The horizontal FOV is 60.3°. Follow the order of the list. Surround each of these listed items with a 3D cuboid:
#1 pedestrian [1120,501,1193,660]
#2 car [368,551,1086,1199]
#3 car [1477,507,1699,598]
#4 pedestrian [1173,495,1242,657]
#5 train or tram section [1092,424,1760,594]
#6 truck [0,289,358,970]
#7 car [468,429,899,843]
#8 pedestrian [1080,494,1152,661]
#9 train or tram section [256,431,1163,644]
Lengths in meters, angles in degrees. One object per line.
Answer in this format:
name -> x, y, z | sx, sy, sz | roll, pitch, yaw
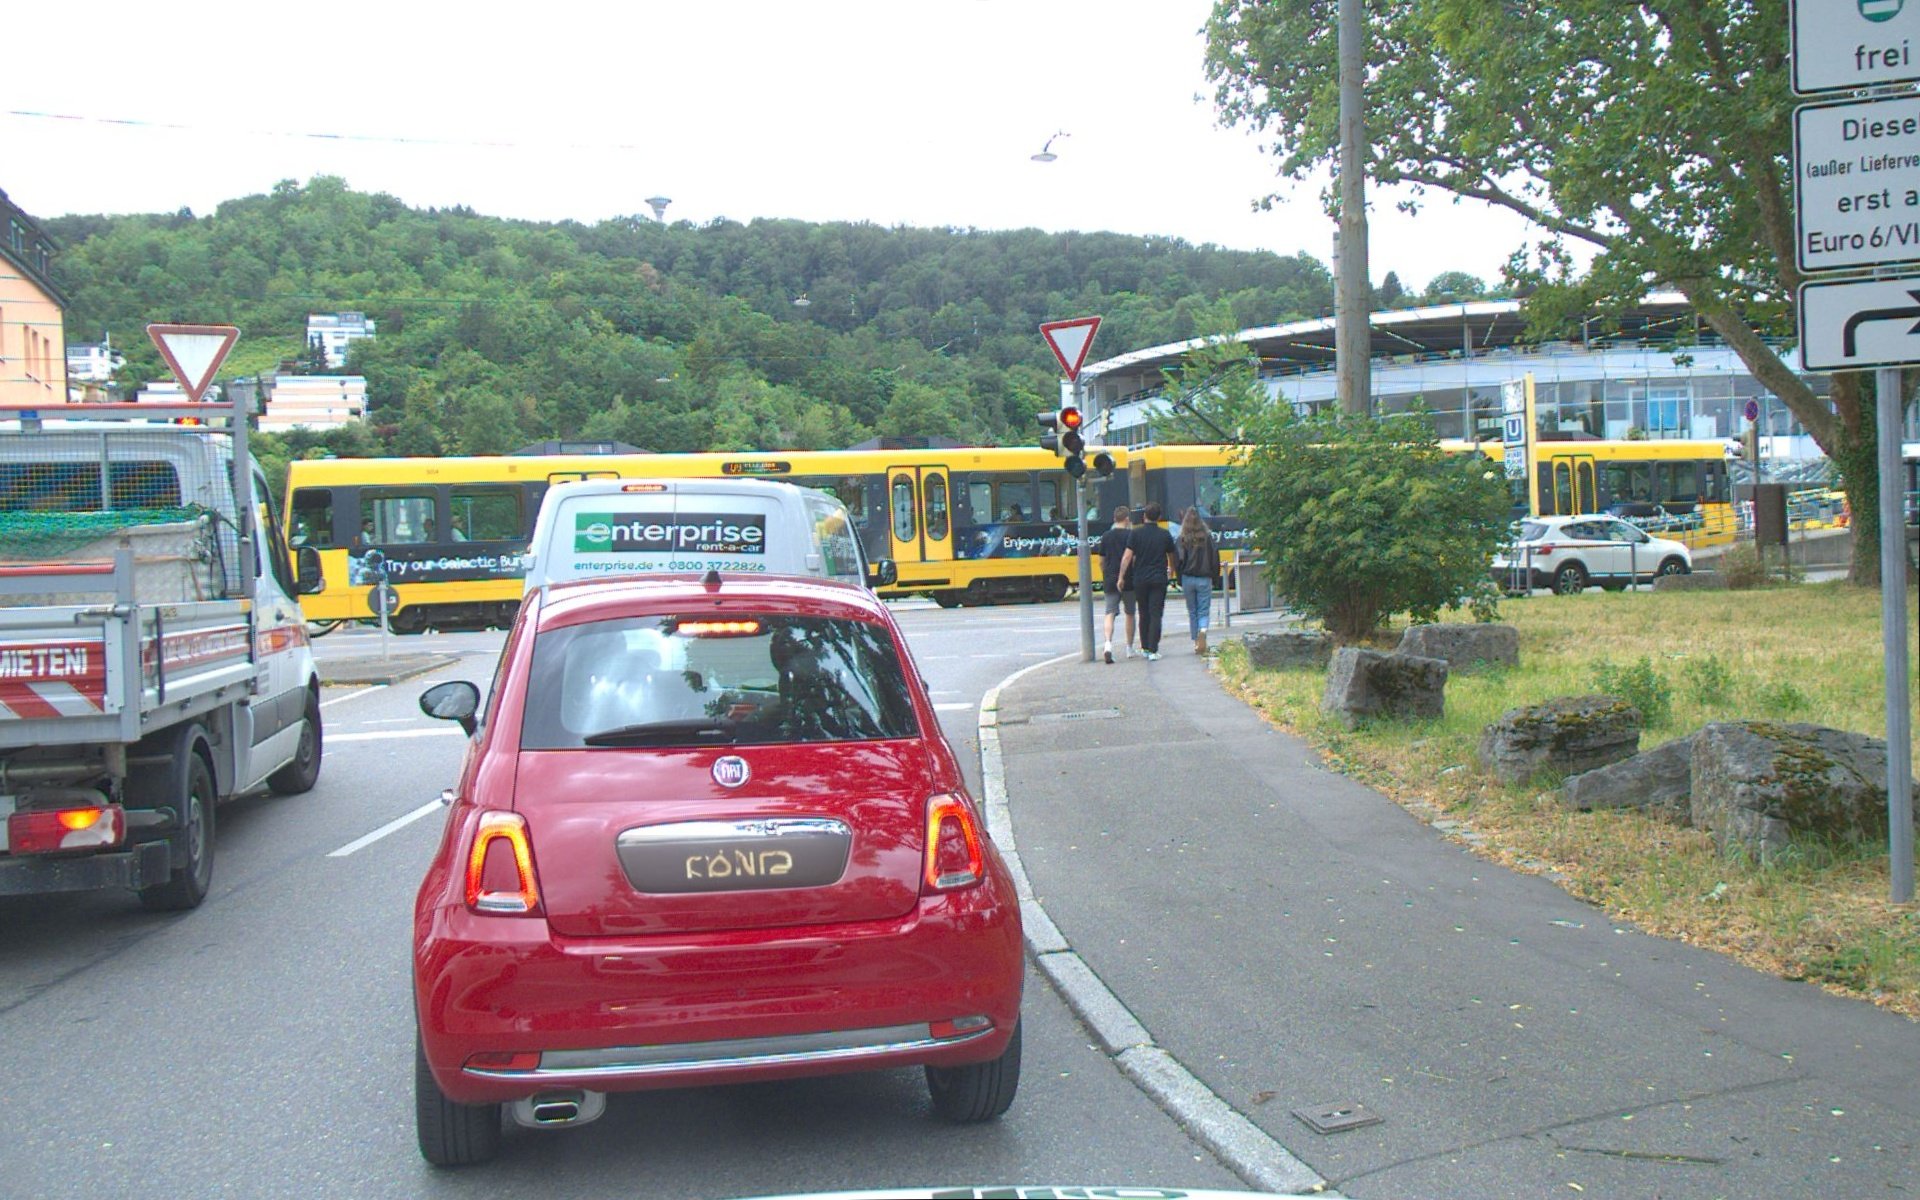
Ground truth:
pedestrian -> 2.242, -0.226, 18.831 | 0.678, 1.744, 0.789 | -2, 1, 12
car -> -0.837, 0.623, 5.511 | 1.610, 1.482, 3.421 | -2, 1, -12
car -> 12.519, -0.956, 32.963 | 4.059, 1.611, 1.790 | -3, 2, -24
pedestrian -> 2.811, -0.276, 18.701 | 0.678, 1.770, 0.789 | -2, 1, 10
train or tram section -> 12.557, -2.474, 42.889 | 18.859, 3.729, 3.254 | -3, 2, -24
truck -> -4.844, 0.109, 8.686 | 2.381, 2.439, 6.008 | -3, 1, -14
car -> -1.582, 0.134, 11.323 | 1.948, 2.143, 4.763 | -3, 1, 1
pedestrian -> 1.831, -0.270, 19.355 | 0.678, 1.889, 0.789 | -2, 1, 11
train or tram section -> -4.811, -1.524, 35.756 | 18.835, 3.729, 3.258 | -3, 2, -21
